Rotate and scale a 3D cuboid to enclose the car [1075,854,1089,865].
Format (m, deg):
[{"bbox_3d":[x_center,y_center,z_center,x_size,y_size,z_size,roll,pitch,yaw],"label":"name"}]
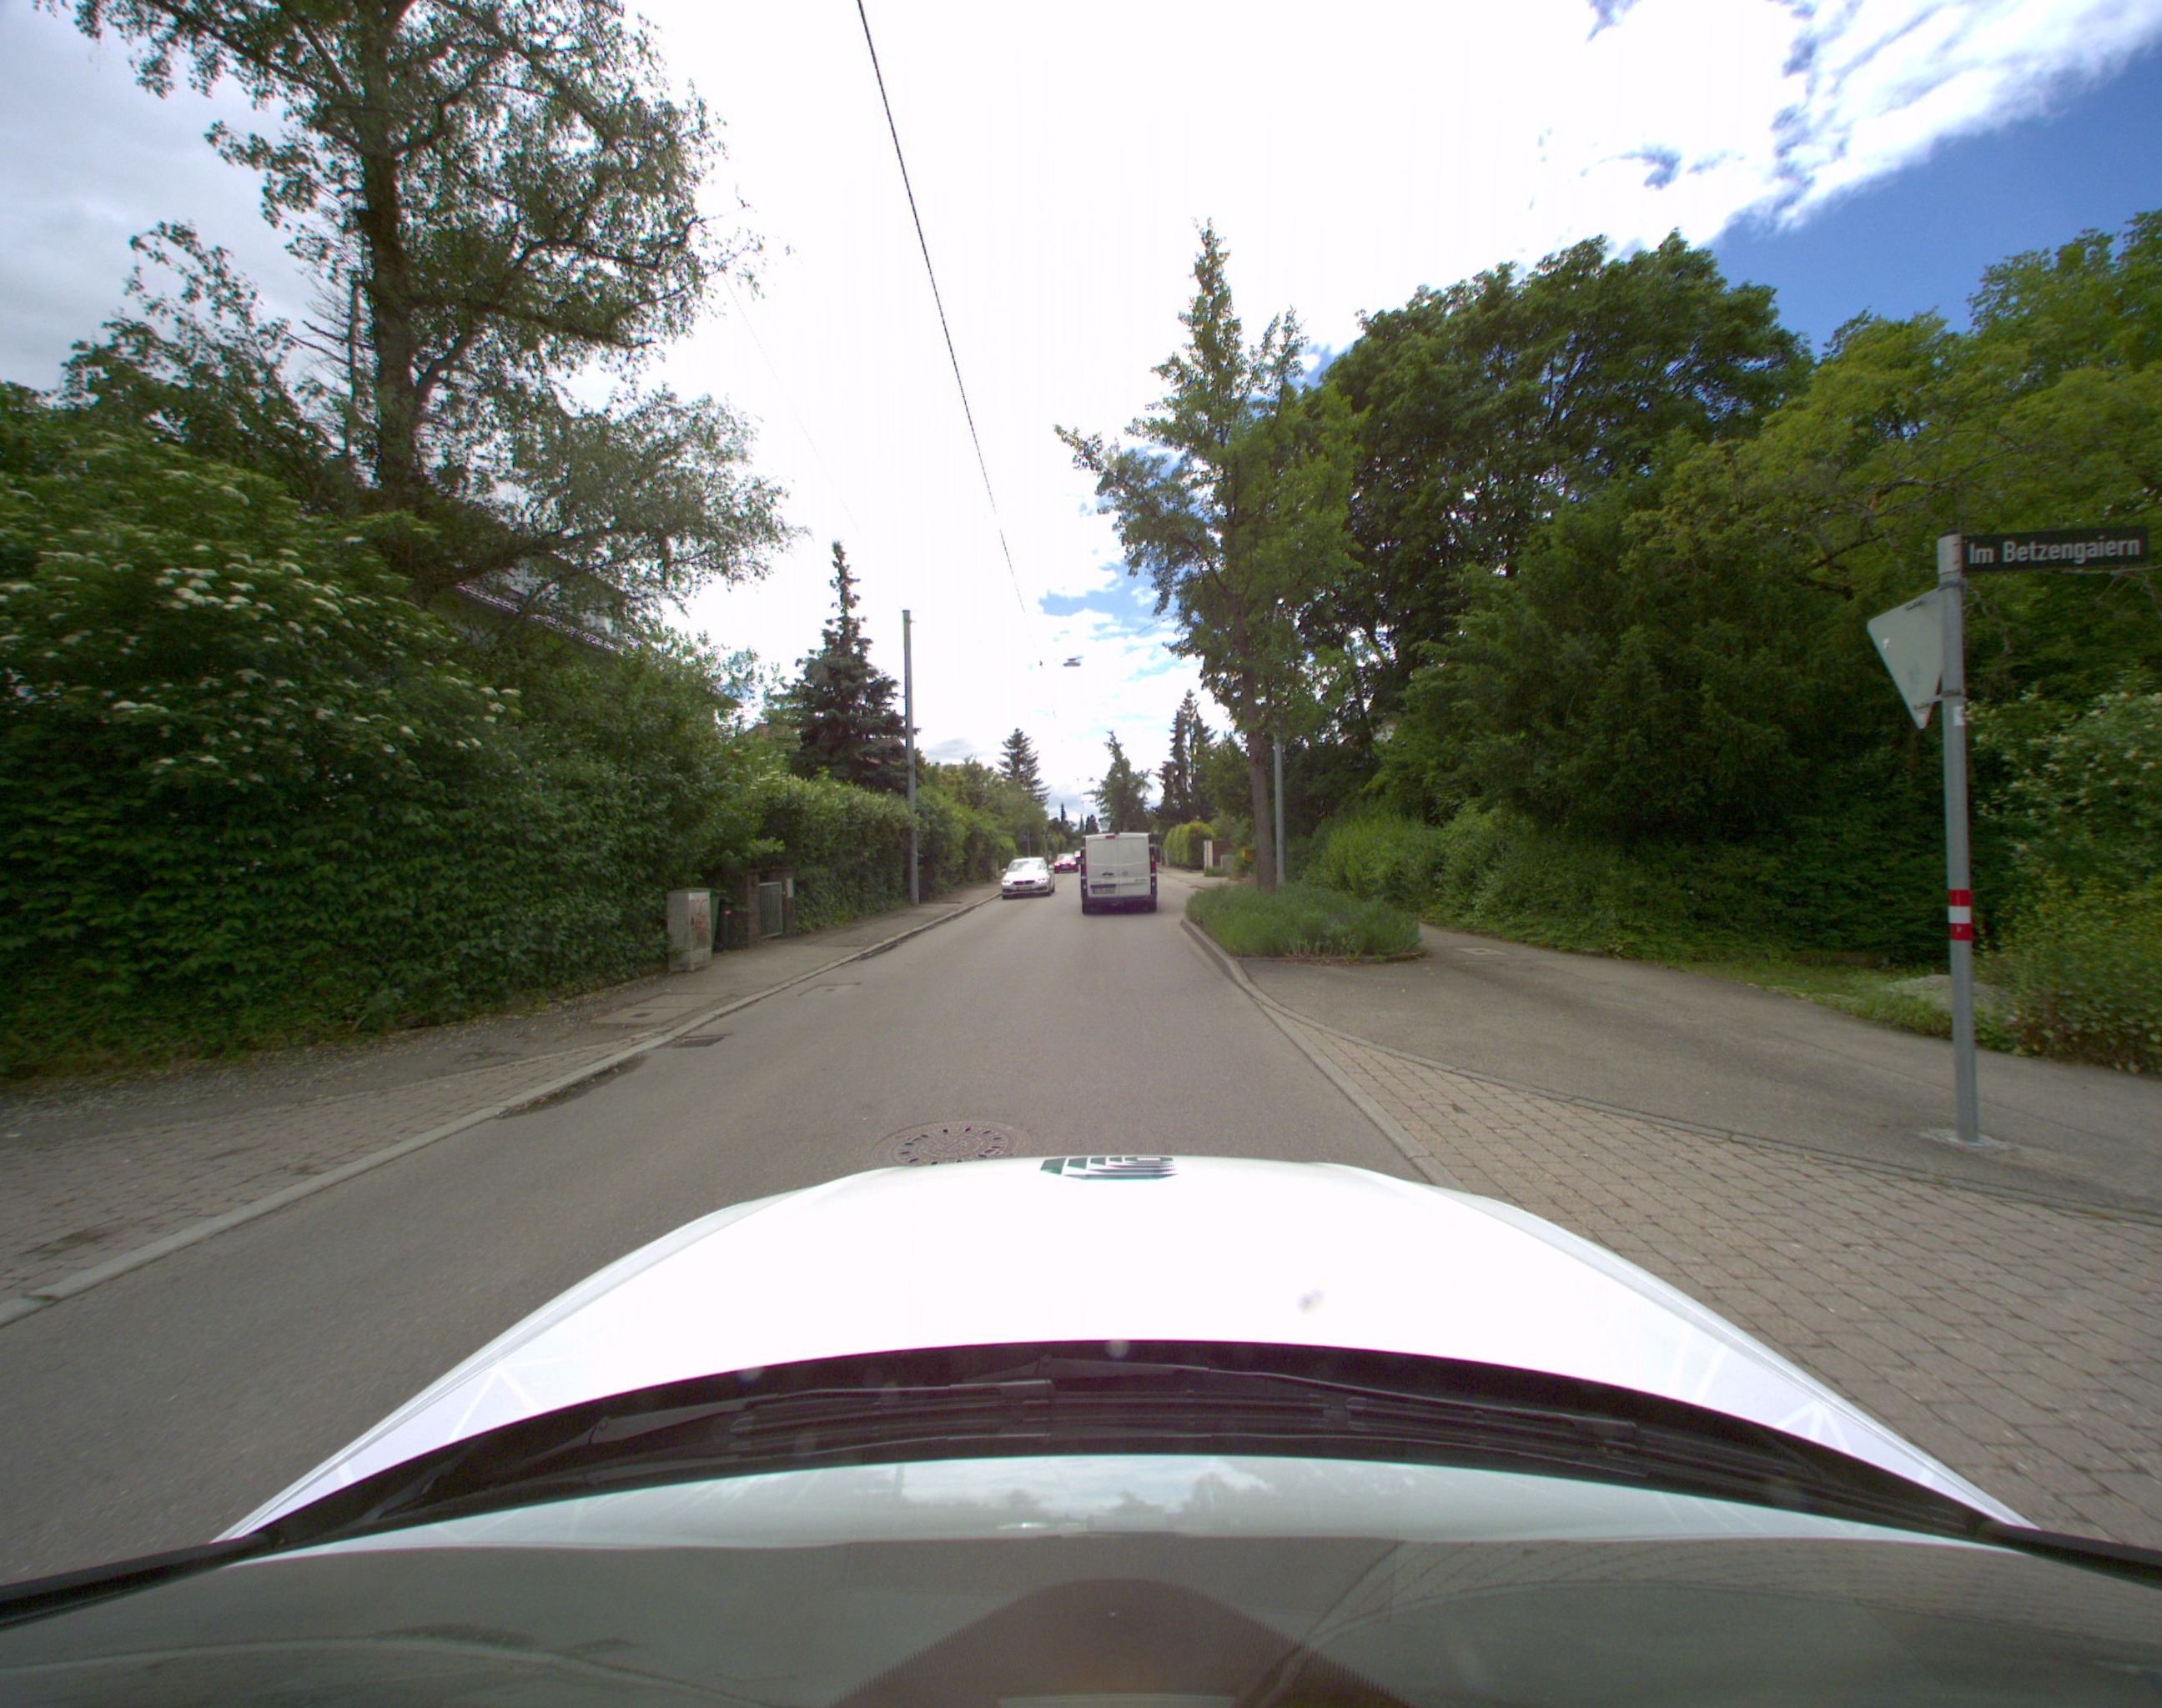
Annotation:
[{"bbox_3d":[0.153,0.807,115.437,1.849,1.451,4.281,-3,0,0],"label":"car"}]

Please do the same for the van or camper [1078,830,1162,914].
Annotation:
[{"bbox_3d":[0.947,0.461,21.547,1.933,1.954,4.765,-1,-1,1],"label":"van or camper"}]

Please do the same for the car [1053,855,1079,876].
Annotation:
[{"bbox_3d":[-1.101,0.867,61.899,1.799,1.431,4.118,-4,0,0],"label":"car"}]

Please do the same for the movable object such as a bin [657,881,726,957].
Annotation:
[{"bbox_3d":[-6.130,1.011,12.856,0.726,1.126,0.722,1,0,-2],"label":"movable object such as a bin"}]

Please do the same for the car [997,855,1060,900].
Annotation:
[{"bbox_3d":[-1.931,0.831,30.980,1.798,1.431,4.304,-4,0,3],"label":"car"}]

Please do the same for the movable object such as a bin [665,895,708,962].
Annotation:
[{"bbox_3d":[-5.912,1.103,12.221,0.377,0.951,0.512,1,0,-2],"label":"movable object such as a bin"}]

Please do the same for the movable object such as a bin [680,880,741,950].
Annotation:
[{"bbox_3d":[-6.172,1.009,13.604,0.726,1.117,0.585,1,0,-2],"label":"movable object such as a bin"}]
